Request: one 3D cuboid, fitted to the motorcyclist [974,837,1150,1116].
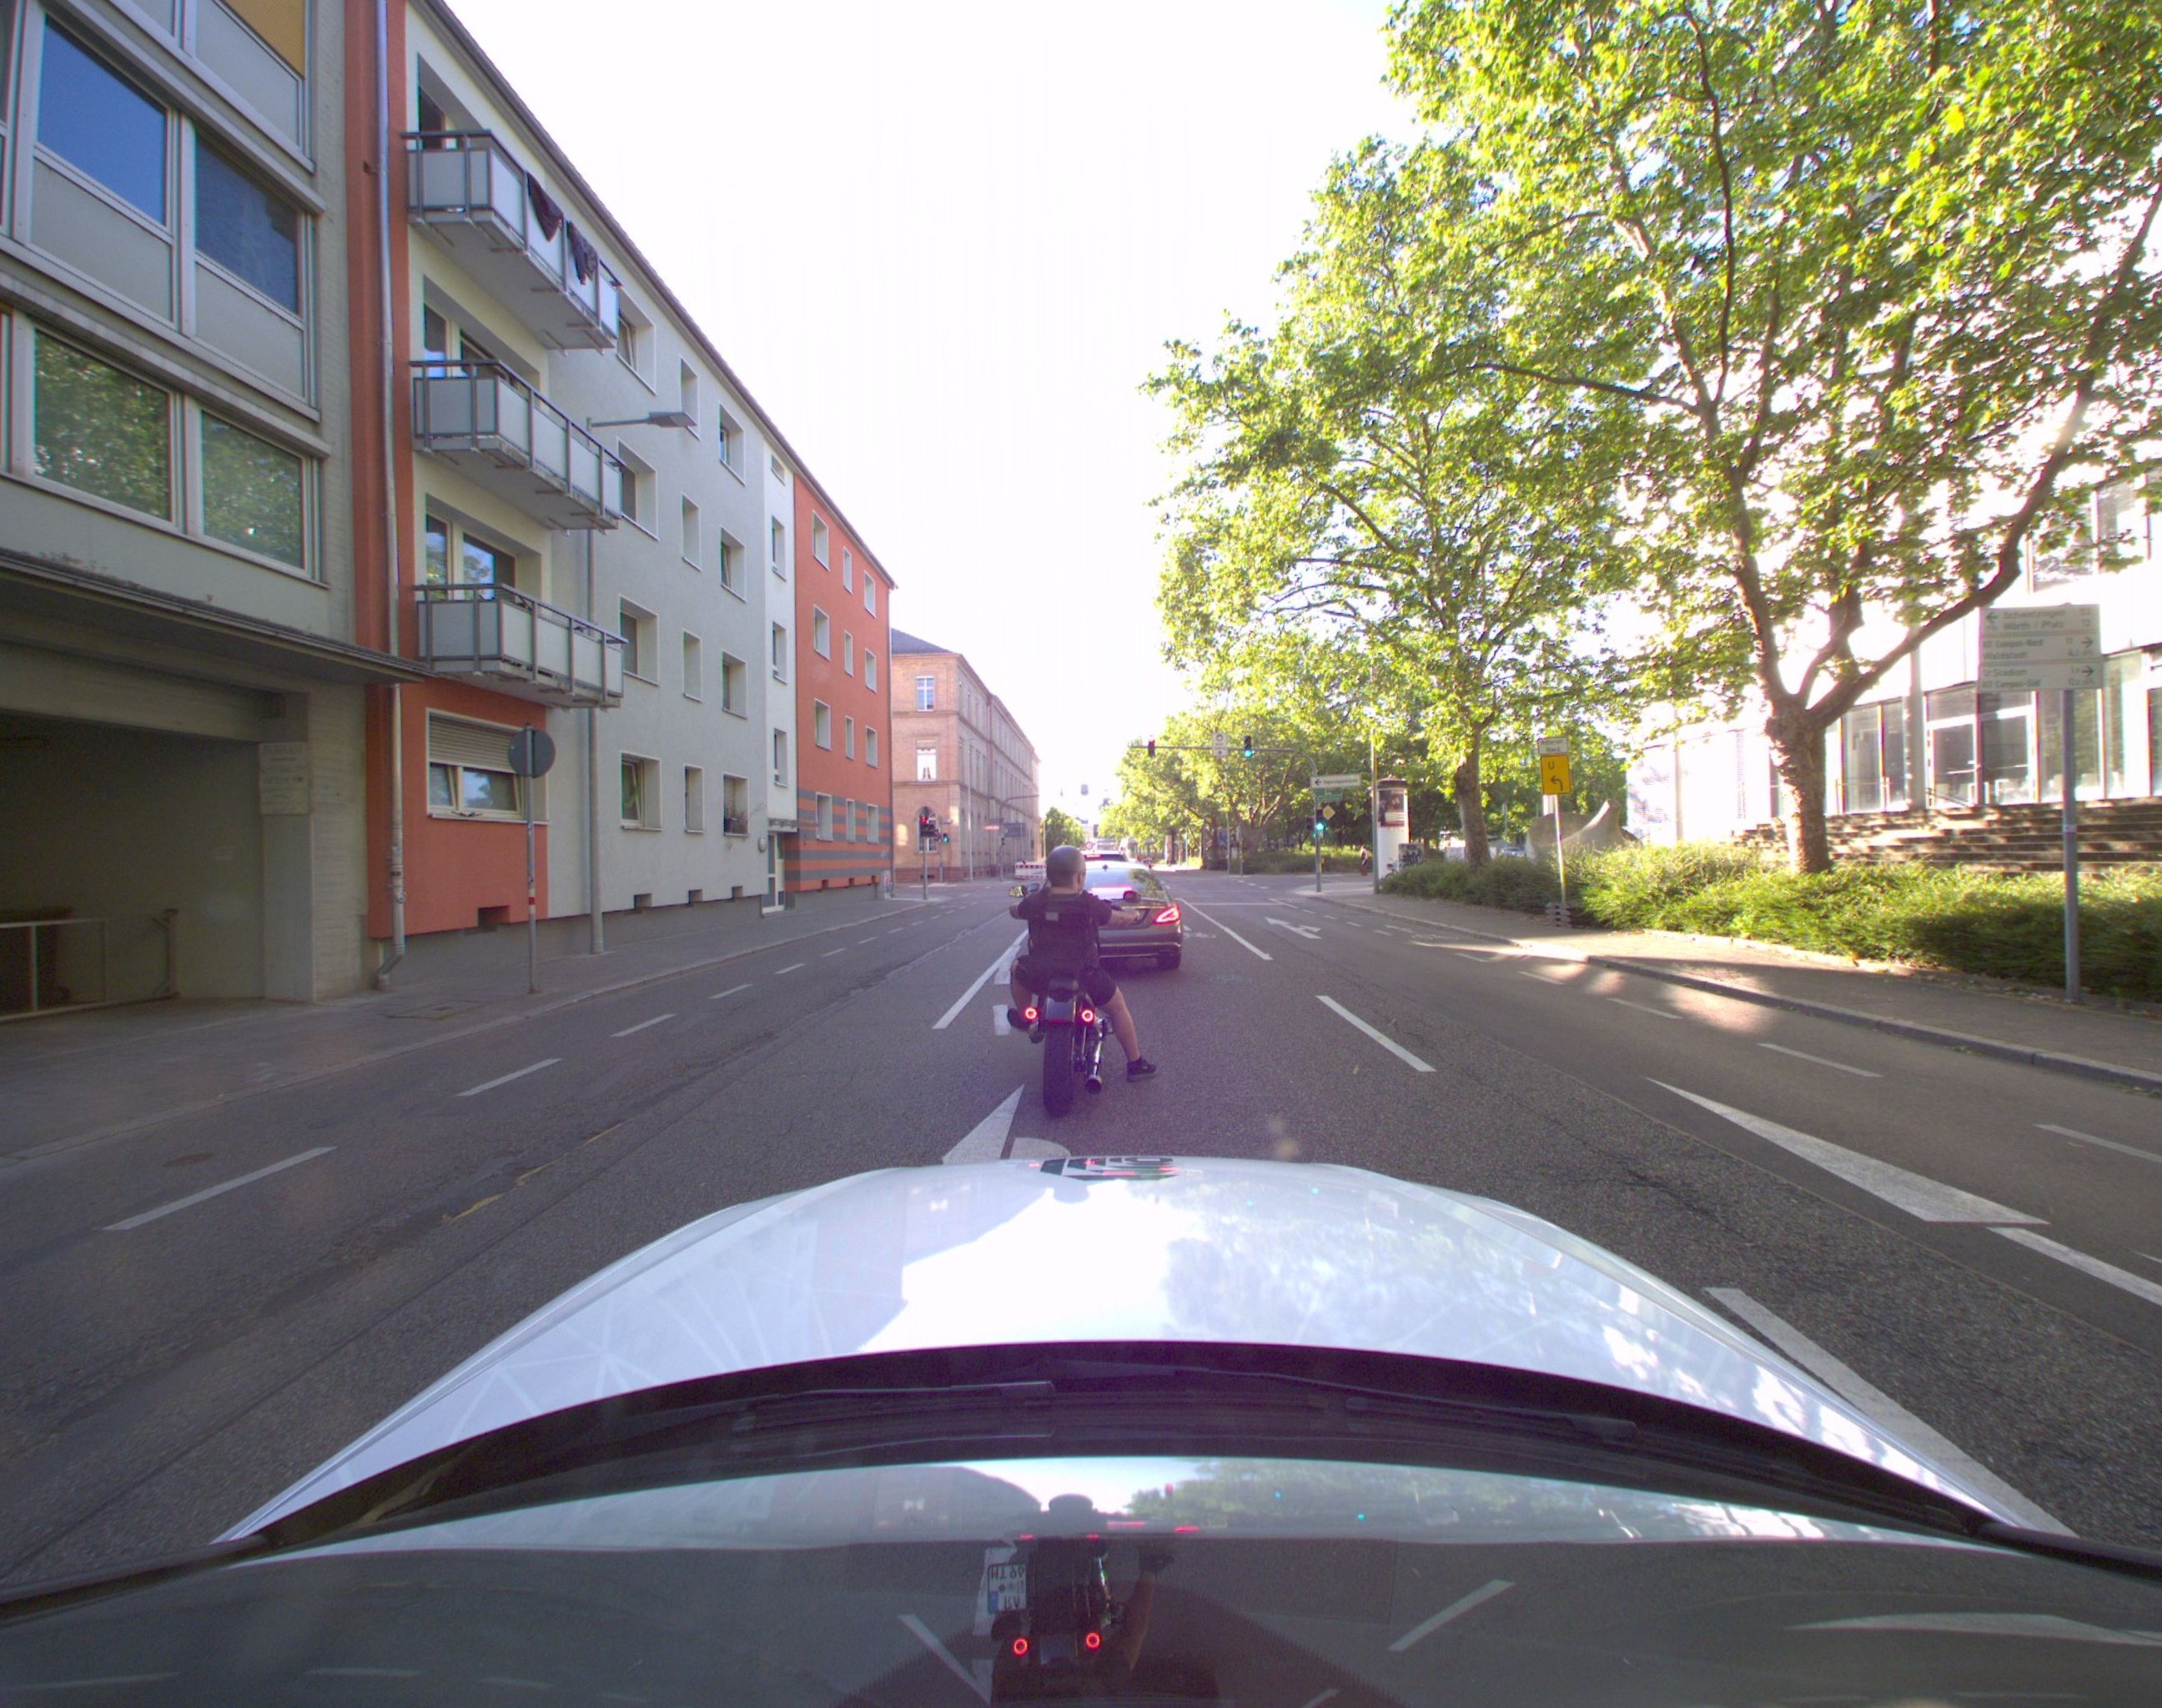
[{"bbox_3d":[-0.089,0.704,5.299,0.977,1.578,1.249,-1,0,1],"label":"motorcyclist"}]

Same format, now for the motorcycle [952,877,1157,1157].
[{"bbox_3d":[-0.090,0.832,5.184,0.977,1.275,2.408,-1,0,2],"label":"motorcycle"}]

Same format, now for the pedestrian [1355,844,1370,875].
[{"bbox_3d":[15.751,0.308,45.551,0.671,1.772,0.621,-1,-1,31],"label":"pedestrian"}]

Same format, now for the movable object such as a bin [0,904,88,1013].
[{"bbox_3d":[-11.289,1.091,8.646,0.639,1.065,0.675,-1,0,1],"label":"movable object such as a bin"}]

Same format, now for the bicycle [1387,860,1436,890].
[{"bbox_3d":[11.079,0.707,27.322,1.475,0.980,0.300,0,-1,7],"label":"bicycle"}]

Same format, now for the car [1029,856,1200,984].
[{"bbox_3d":[0.264,0.770,11.744,1.867,1.444,4.421,-1,0,-6],"label":"car"}]

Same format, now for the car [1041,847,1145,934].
[{"bbox_3d":[0.289,0.723,17.671,1.986,1.665,4.001,0,-1,2],"label":"car"}]
